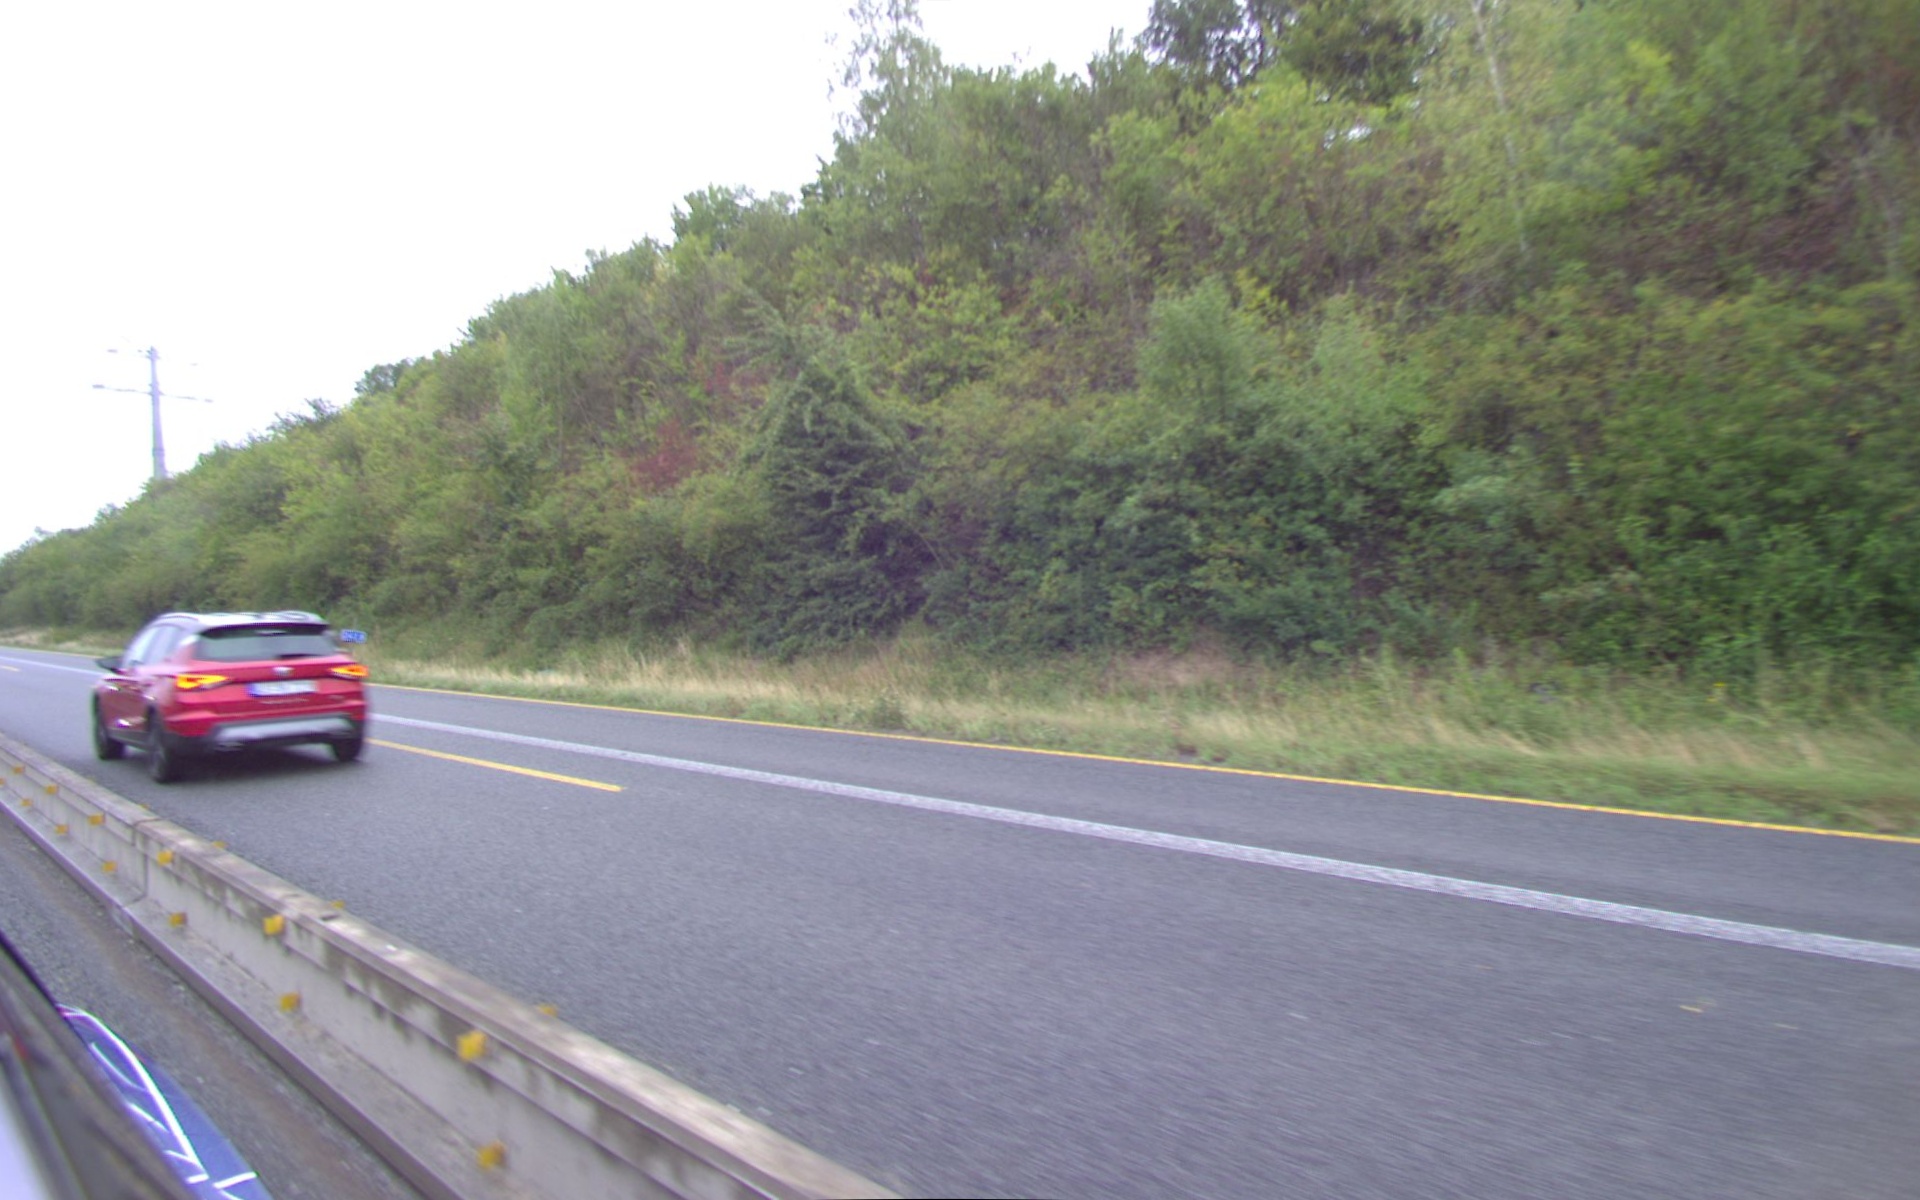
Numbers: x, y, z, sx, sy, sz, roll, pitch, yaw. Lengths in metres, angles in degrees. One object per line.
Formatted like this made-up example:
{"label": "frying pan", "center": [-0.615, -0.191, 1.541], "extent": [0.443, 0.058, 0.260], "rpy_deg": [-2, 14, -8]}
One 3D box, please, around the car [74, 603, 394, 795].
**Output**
{"label": "car", "center": [-7.518, 0.842, 10.341], "extent": [3.998, 1.567, 1.776], "rpy_deg": [-1, 0, 41]}
